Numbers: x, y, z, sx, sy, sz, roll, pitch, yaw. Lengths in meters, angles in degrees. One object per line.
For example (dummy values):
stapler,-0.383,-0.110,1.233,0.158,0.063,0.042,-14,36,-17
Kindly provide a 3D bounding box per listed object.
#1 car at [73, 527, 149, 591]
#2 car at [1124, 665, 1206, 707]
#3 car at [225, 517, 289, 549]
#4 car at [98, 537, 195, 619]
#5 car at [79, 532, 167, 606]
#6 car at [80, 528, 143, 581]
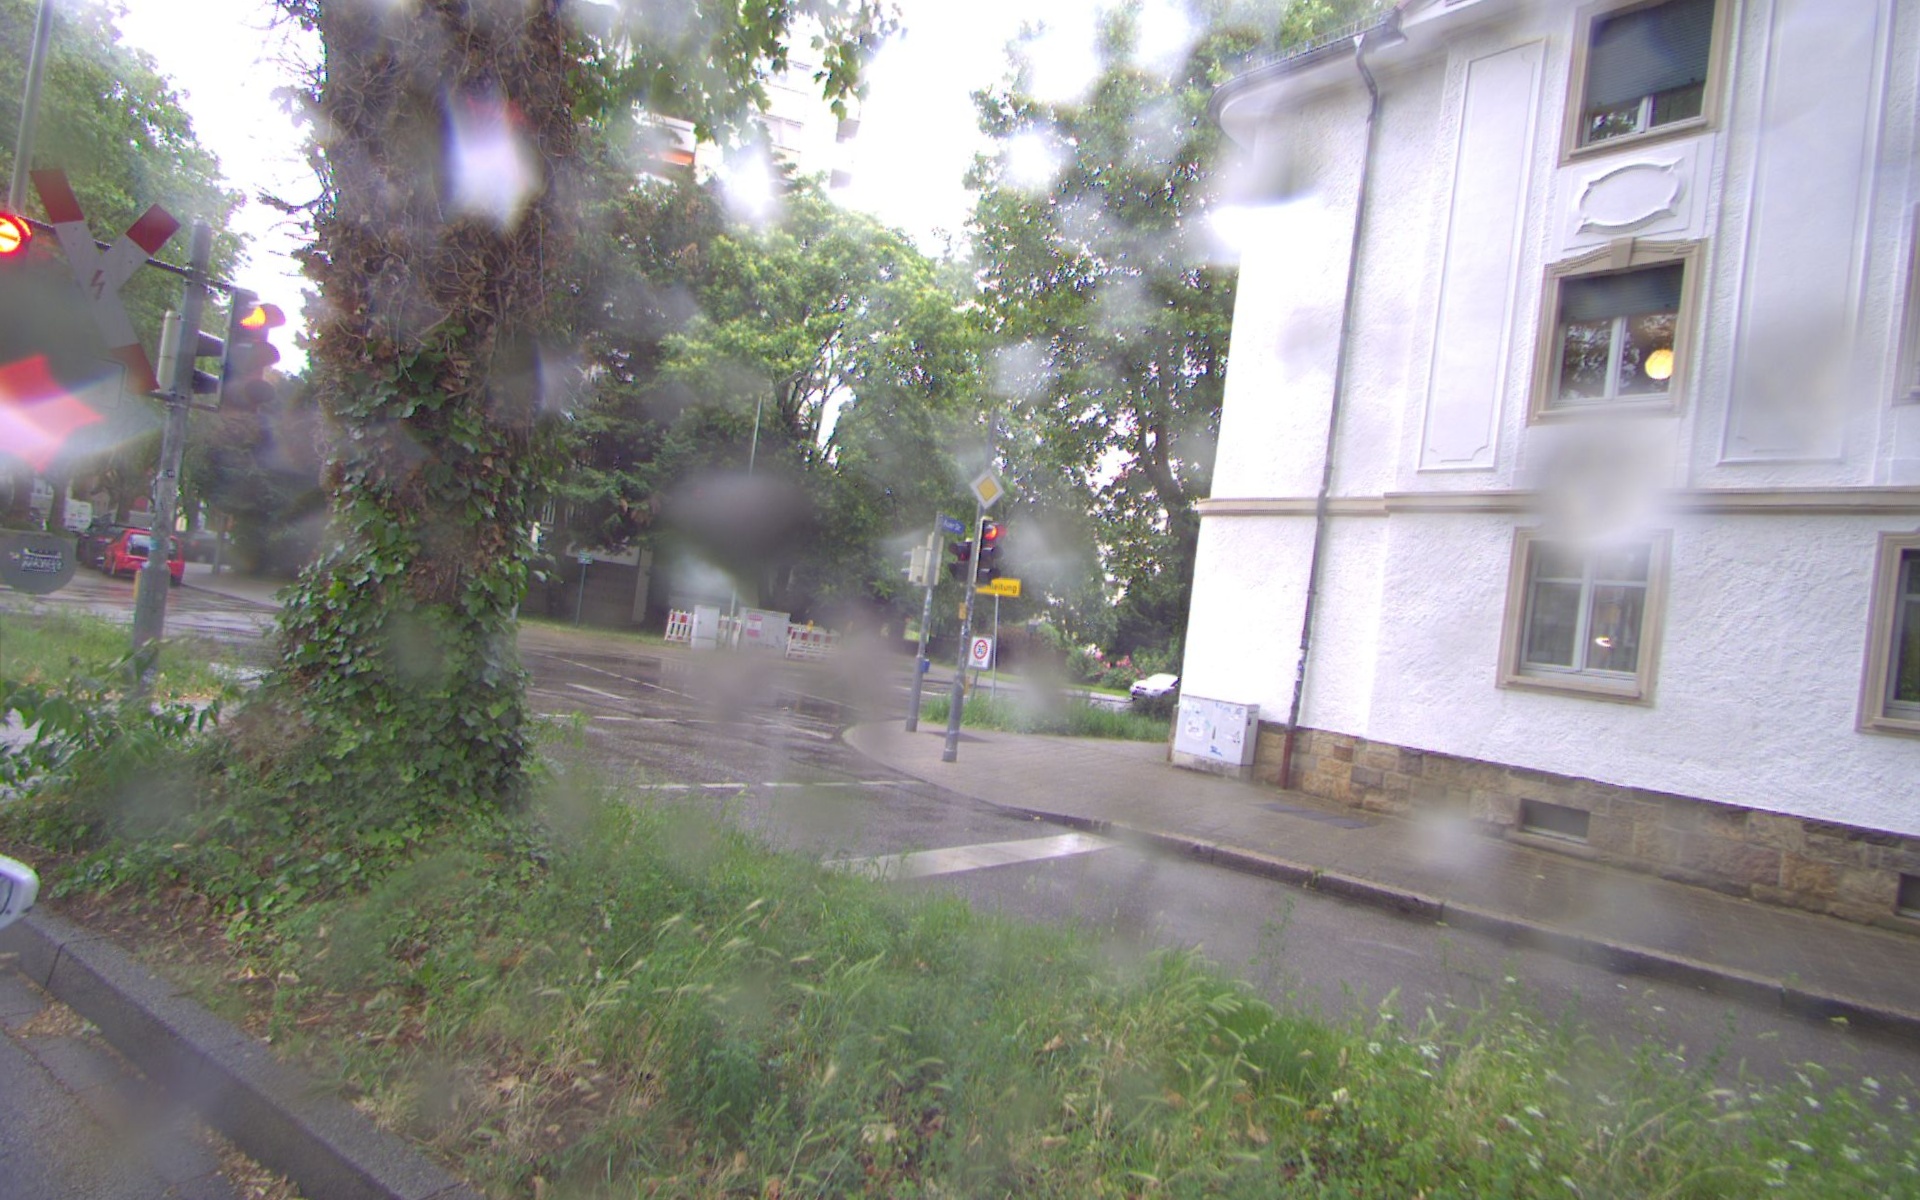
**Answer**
car,-32.703,-1.610,38.718,1.986,2.038,3.953,7,0,-42
car,9.324,3.919,45.626,3.630,1.504,1.704,8,0,-43
car,-57.172,-5.446,81.833,3.969,2.038,1.689,7,0,-39
car,-24.889,-0.703,30.729,1.986,2.038,3.953,7,0,-42
car,-27.907,-1.055,33.484,1.986,2.038,3.953,7,0,-42
car,-39.702,-2.150,47.046,1.986,2.038,3.953,7,0,-42
